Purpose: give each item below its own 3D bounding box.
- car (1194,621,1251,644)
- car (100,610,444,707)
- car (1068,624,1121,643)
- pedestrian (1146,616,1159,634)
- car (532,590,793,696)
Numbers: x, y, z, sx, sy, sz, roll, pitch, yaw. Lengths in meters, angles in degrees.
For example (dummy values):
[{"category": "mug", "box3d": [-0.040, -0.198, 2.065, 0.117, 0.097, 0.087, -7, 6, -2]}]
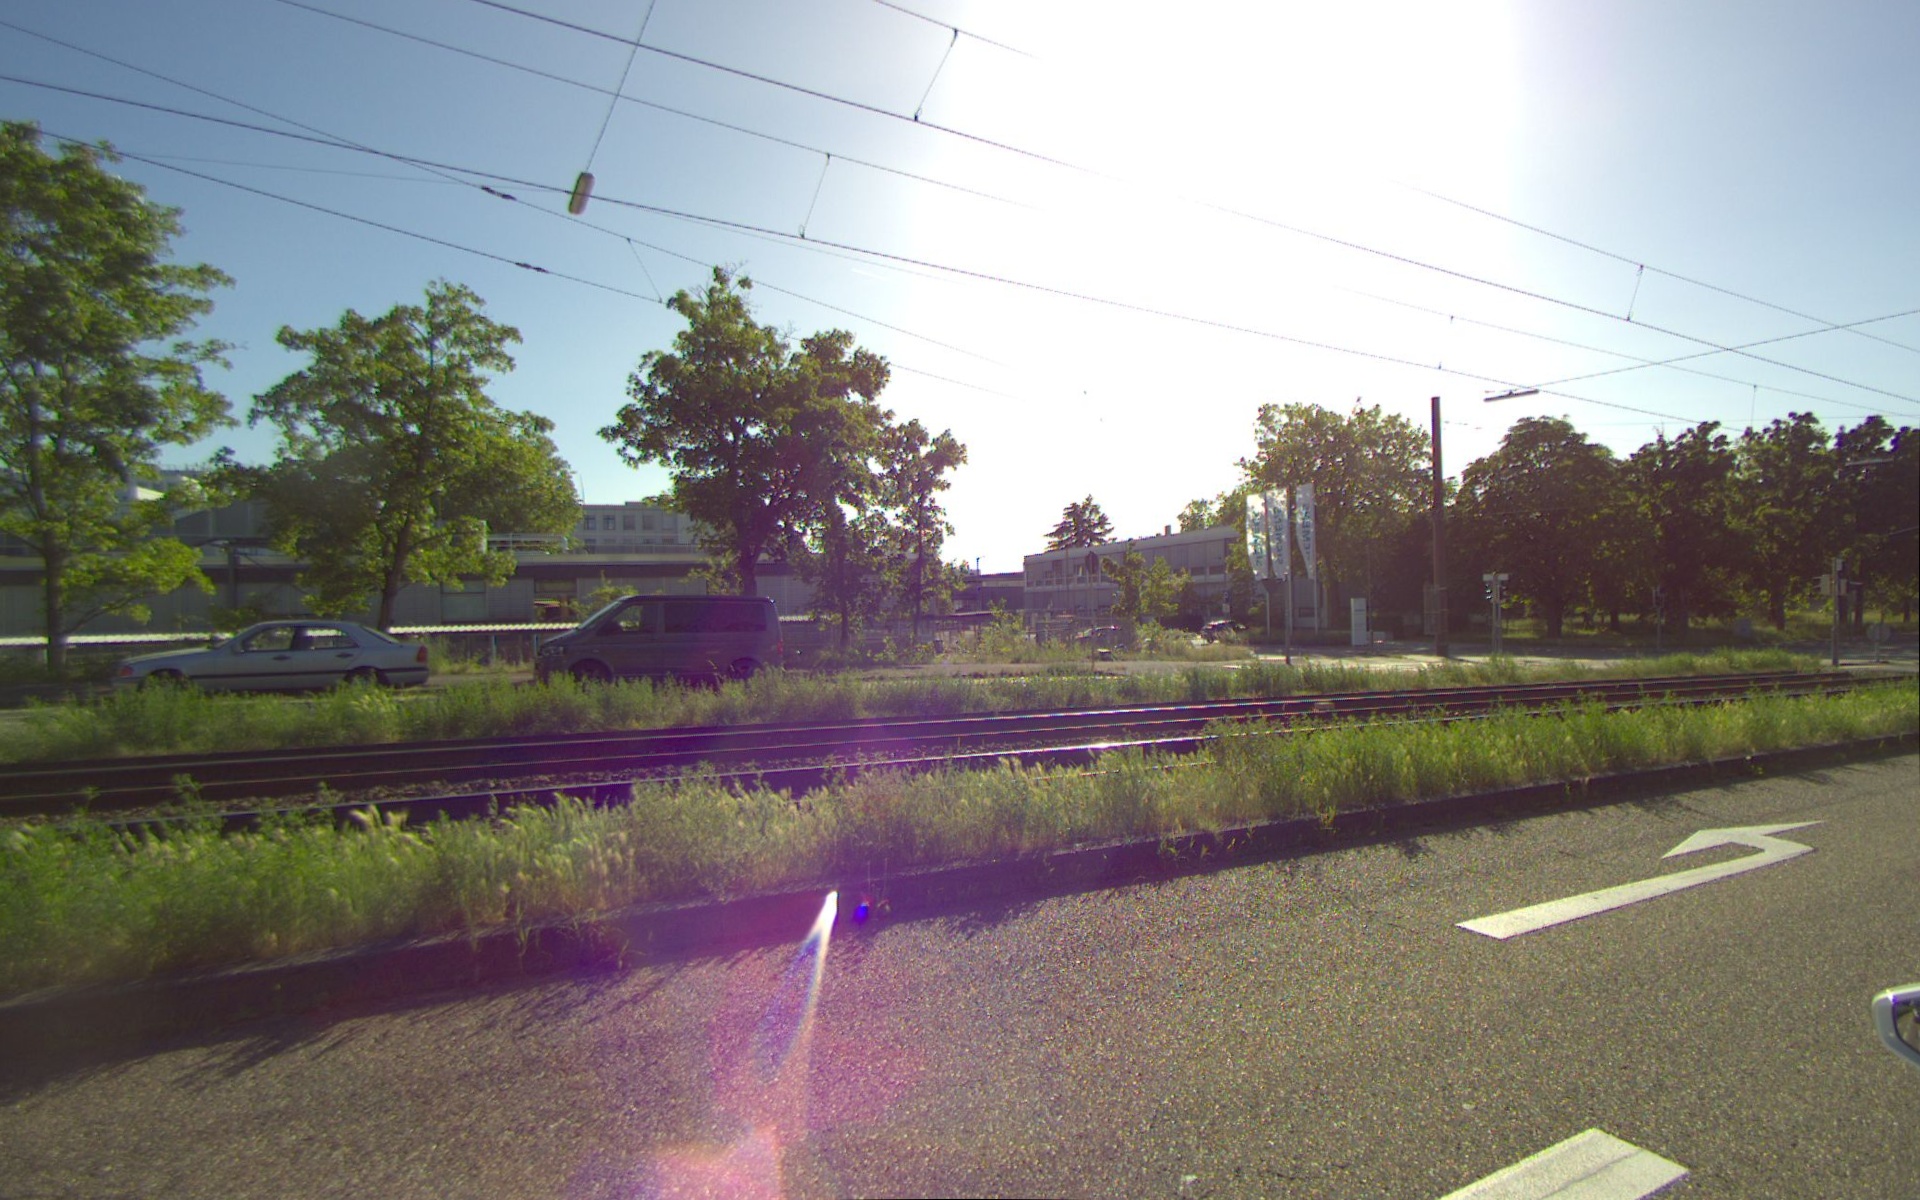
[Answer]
[{"category": "car", "box3d": [18.447, 2.257, 70.629, 3.817, 1.508, 1.683, 0, 0, -31]}, {"category": "car", "box3d": [-11.461, 0.913, 17.189, 4.638, 1.457, 1.919, 0, 0, -30]}, {"category": "car", "box3d": [10.786, 2.675, 80.780, 3.892, 1.471, 1.689, 0, 0, -21]}, {"category": "pedestrian", "box3d": [17.251, 2.223, 90.055, 0.811, 1.549, 0.761, 0, 0, -20]}, {"category": "car", "box3d": [-5.983, 0.807, 20.274, 4.730, 1.916, 2.188, 0, 0, -28]}]
